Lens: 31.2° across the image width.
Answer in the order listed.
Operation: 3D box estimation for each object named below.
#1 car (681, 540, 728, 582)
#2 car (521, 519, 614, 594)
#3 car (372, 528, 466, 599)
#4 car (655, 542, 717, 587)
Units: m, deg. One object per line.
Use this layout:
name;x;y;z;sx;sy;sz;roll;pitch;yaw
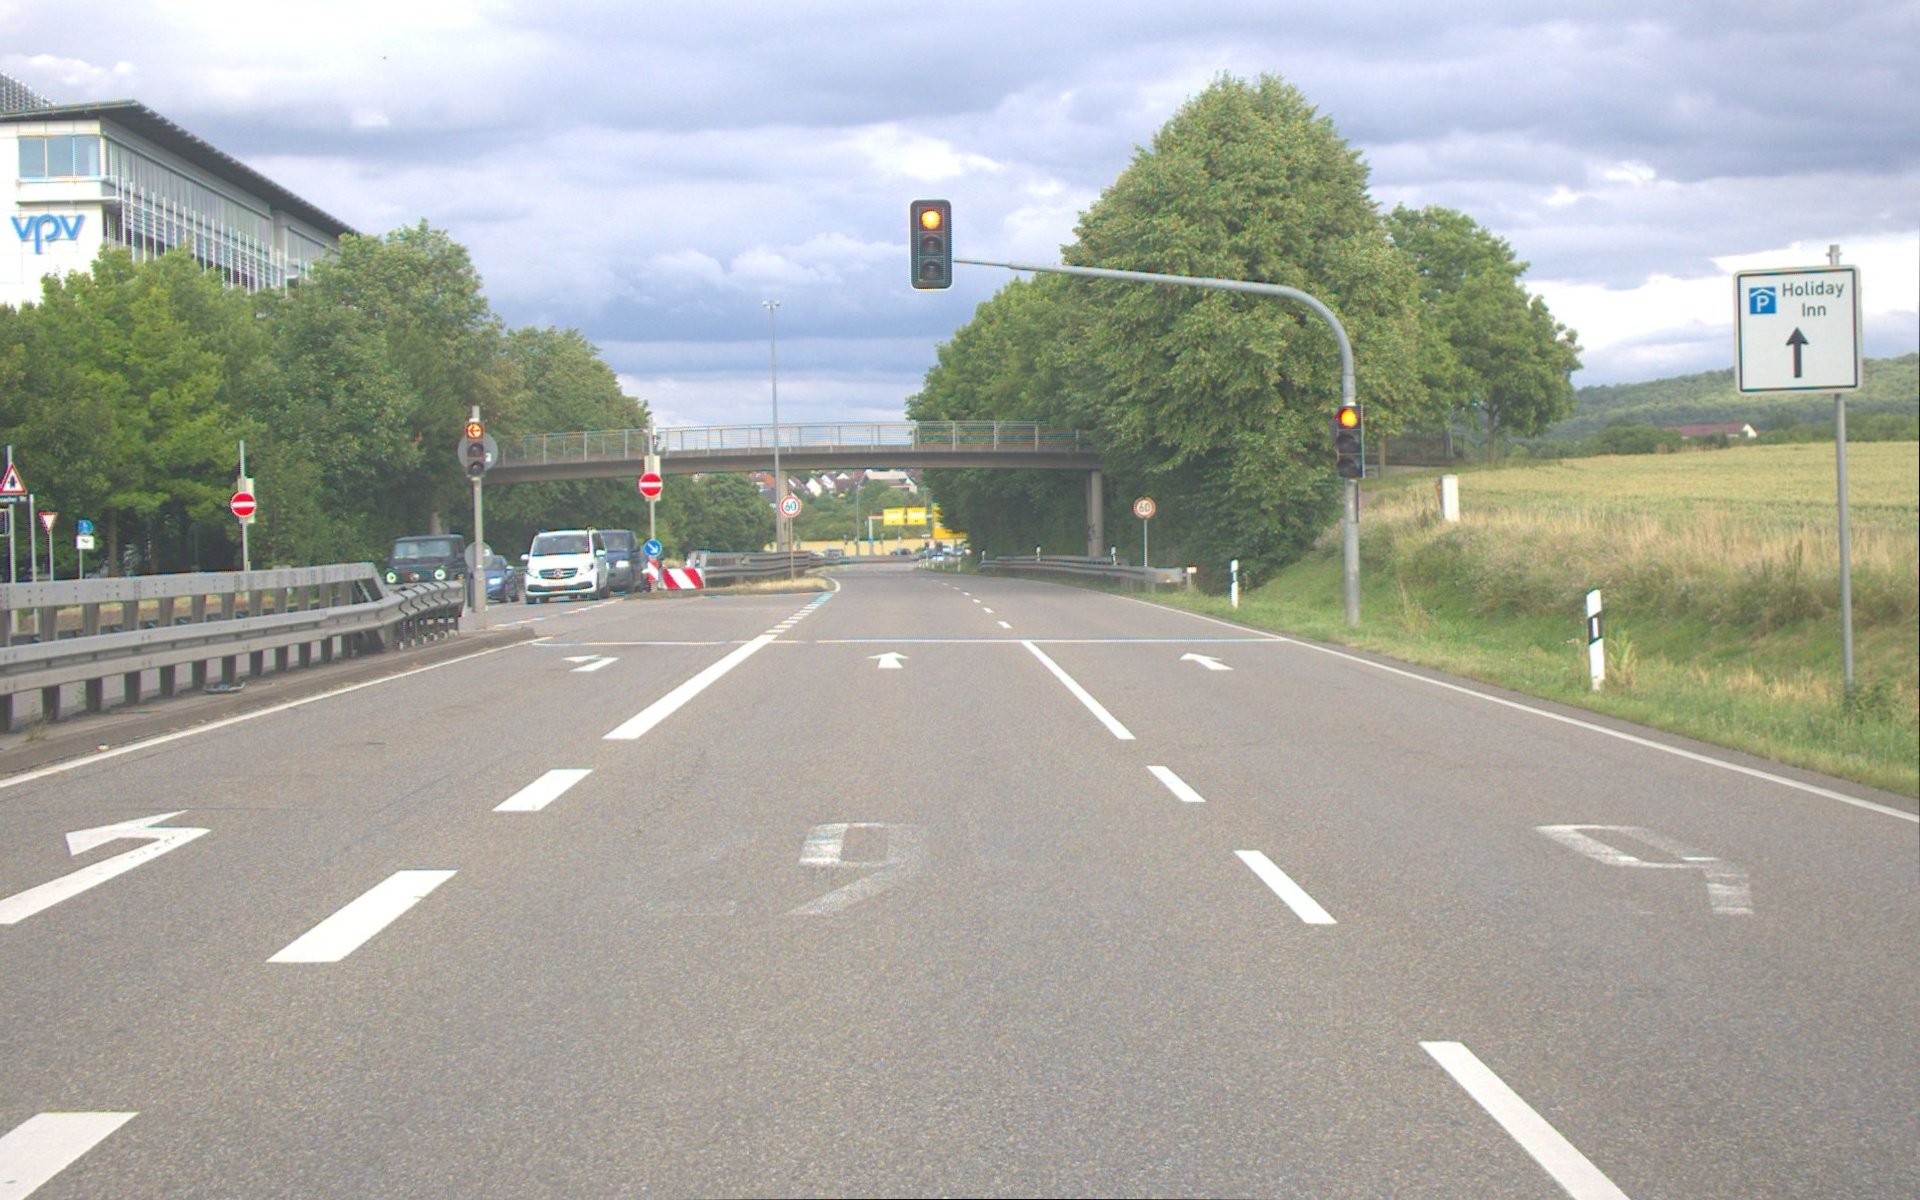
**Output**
car;-7.858;-1.203;105.855;1.312;1.225;2.922;-1;2;-2
car;-10.392;-1.181;91.306;1.948;1.867;4.737;-1;2;-1
car;-14.300;-0.987;91.087;1.868;1.748;4.049;-1;2;-1
car;-7.096;-0.928;89.329;1.358;1.088;2.922;-1;2;0
